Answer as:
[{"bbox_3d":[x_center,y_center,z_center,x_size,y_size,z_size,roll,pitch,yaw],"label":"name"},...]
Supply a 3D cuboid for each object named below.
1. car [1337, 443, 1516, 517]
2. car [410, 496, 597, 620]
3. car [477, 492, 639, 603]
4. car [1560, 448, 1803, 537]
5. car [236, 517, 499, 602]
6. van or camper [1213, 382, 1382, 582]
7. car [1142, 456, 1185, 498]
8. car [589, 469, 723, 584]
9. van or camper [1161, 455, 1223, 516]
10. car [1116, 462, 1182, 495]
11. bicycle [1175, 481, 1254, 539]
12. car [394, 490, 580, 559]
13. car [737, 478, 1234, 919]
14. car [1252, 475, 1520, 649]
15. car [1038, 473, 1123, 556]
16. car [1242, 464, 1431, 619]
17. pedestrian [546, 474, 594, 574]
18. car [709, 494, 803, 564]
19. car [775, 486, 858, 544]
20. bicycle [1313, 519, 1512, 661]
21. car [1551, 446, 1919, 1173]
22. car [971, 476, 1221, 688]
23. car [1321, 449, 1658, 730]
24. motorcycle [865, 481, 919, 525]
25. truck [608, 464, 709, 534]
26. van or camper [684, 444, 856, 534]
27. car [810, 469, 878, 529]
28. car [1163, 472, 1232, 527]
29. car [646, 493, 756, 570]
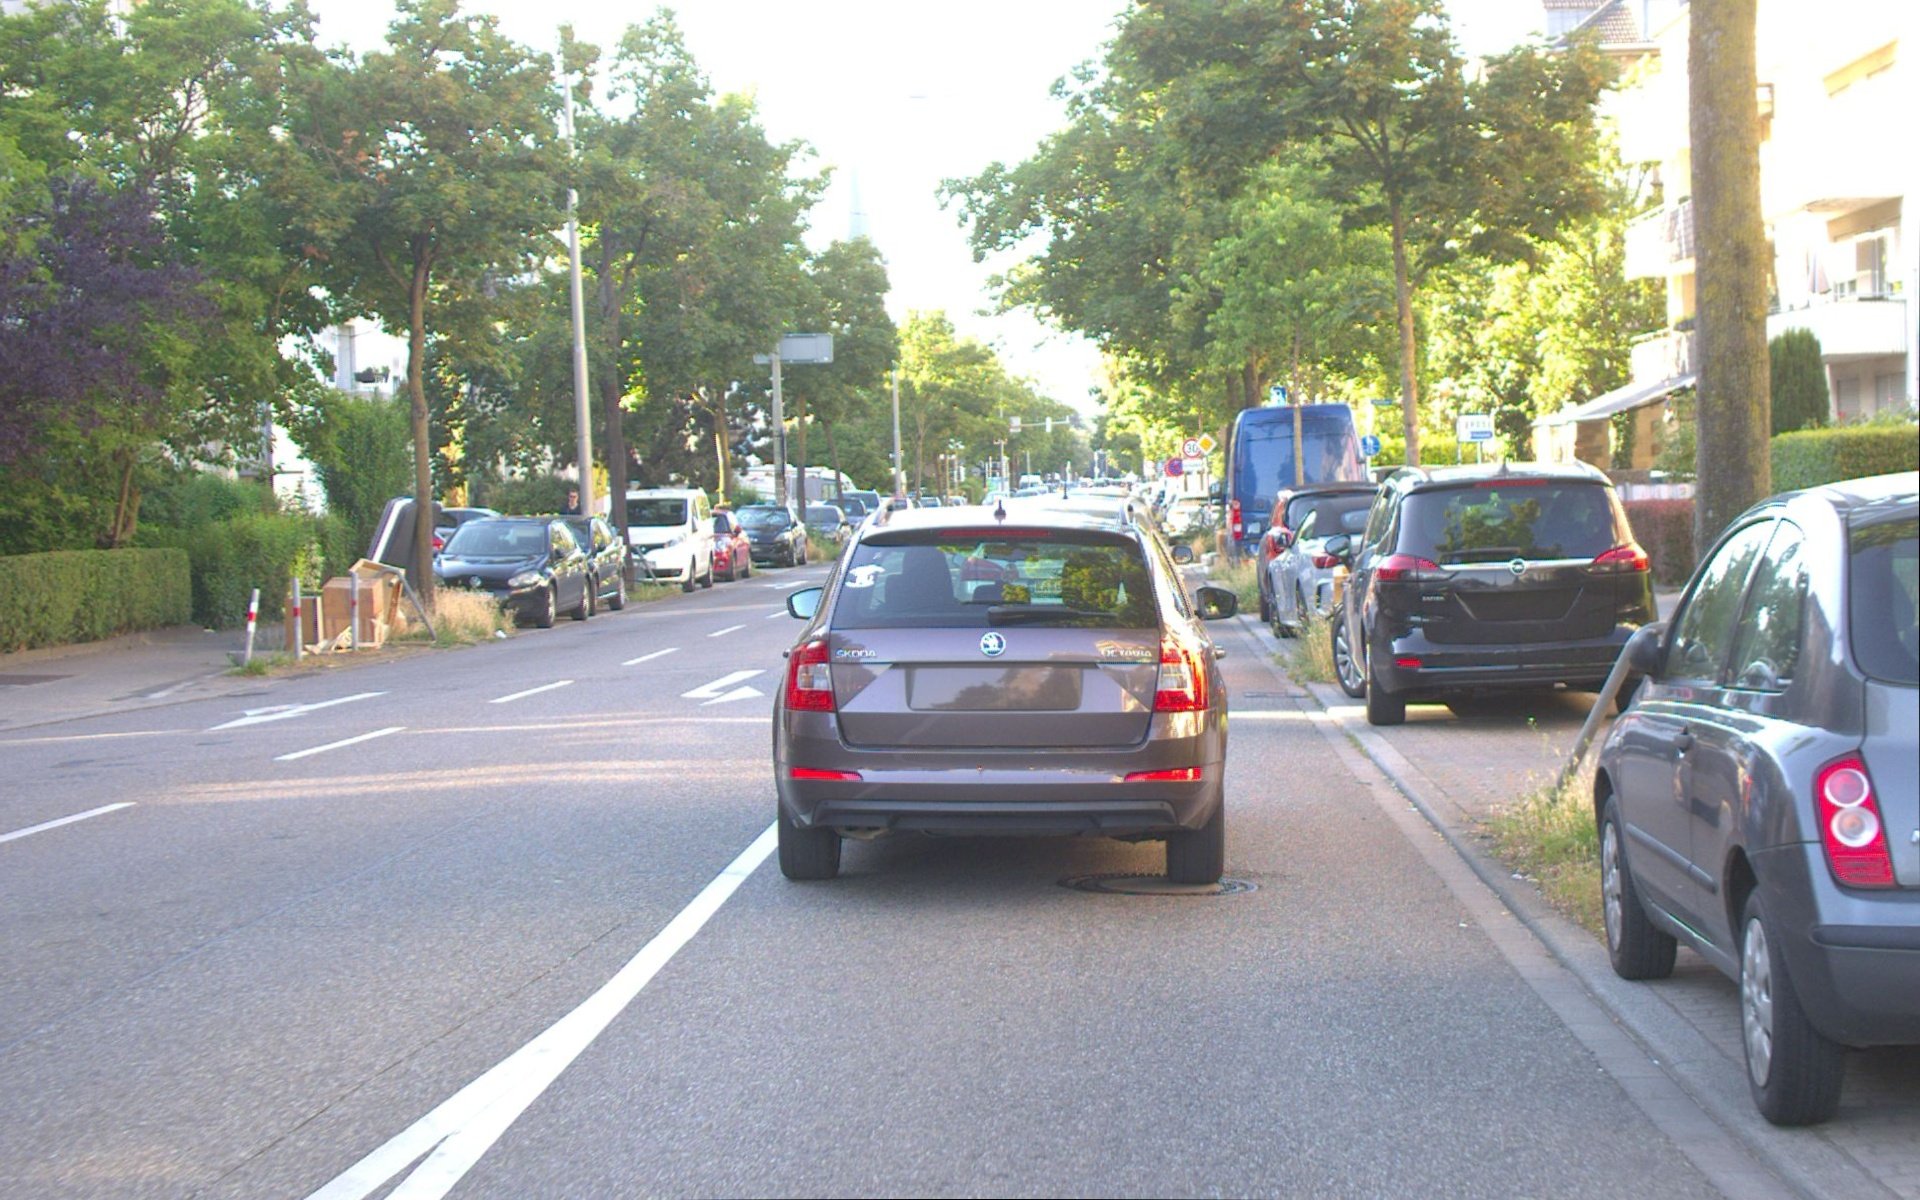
[{"bbox_3d":[12.908,-3.322,95.057,4.532,1.886,1.915,-3,2,-24],"label":"car"},{"bbox_3d":[-6.153,-0.603,46.789,1.750,1.497,4.197,-2,3,3],"label":"car"},{"bbox_3d":[-6.007,-0.826,51.729,1.750,1.497,3.978,-2,3,3],"label":"car"},{"bbox_3d":[13.045,-1.957,62.339,3.987,1.457,1.825,-2,2,0],"label":"car"},{"bbox_3d":[-11.060,-0.773,64.254,4.709,1.358,2.001,-2,2,-10],"label":"car"},{"bbox_3d":[4.825,-1.694,49.901,2.068,2.666,5.990,-2,2,3],"label":"van or camper"},{"bbox_3d":[9.178,-5.549,155.096,1.729,1.808,3.951,-2,2,1],"label":"car"},{"bbox_3d":[-5.452,-1.367,62.191,1.770,1.912,4.460,-2,2,3],"label":"car"},{"bbox_3d":[8.041,-3.989,119.347,1.994,2.006,4.000,-2,2,3],"label":"van or camper"},{"bbox_3d":[10.969,-7.046,199.115,1.880,1.751,4.171,0,3,35],"label":"car"},{"bbox_3d":[5.908,-2.094,79.786,1.672,1.222,0.635,-3,2,16],"label":"bicycle"},{"bbox_3d":[-10.805,-1.734,78.747,3.987,1.474,2.000,-1,2,-1],"label":"car"},{"bbox_3d":[0.234,0.286,14.209,1.730,1.488,3.951,-2,3,4],"label":"car"},{"bbox_3d":[4.053,-0.428,33.442,1.920,1.481,4.747,-2,3,-1],"label":"car"},{"bbox_3d":[2.595,-1.854,73.402,1.732,1.645,3.542,-2,2,3],"label":"car"},{"bbox_3d":[4.256,-0.690,39.337,1.773,1.636,3.757,-2,2,1],"label":"car"},{"bbox_3d":[-8.034,-1.575,70.868,0.767,2.006,0.976,-2,2,2],"label":"pedestrian"},{"bbox_3d":[-4.784,-1.701,81.224,1.717,1.492,4.248,-2,3,3],"label":"car"},{"bbox_3d":[-3.843,-2.304,92.832,1.754,1.415,4.425,-2,3,3],"label":"car"},{"bbox_3d":[3.574,-0.084,27.161,1.476,1.055,0.412,-2,2,-10],"label":"bicycle"},{"bbox_3d":[2.707,0.369,9.242,1.732,1.545,3.646,-2,2,3],"label":"car"},{"bbox_3d":[1.014,-0.205,27.437,1.729,1.488,3.951,-2,2,-1],"label":"car"},{"bbox_3d":[3.424,-0.155,22.896,1.732,1.645,4.291,-2,3,3],"label":"car"},{"bbox_3d":[-2.390,-3.416,120.985,0.764,1.506,2.030,-4,3,-40],"label":"motorcycle"},{"bbox_3d":[-9.455,-3.170,107.767,2.913,2.086,1.546,-2,2,3],"label":"truck"},{"bbox_3d":[-8.669,-5.081,157.509,7.640,3.861,2.000,-2,2,1],"label":"van or camper"},{"bbox_3d":[-3.550,-3.136,105.998,1.750,1.734,3.591,-2,2,3],"label":"car"},{"bbox_3d":[6.595,-2.810,95.294,1.821,1.408,4.111,-2,3,5],"label":"car"},{"bbox_3d":[-5.189,-1.408,69.362,1.717,1.416,3.786,-2,3,3],"label":"car"}]
